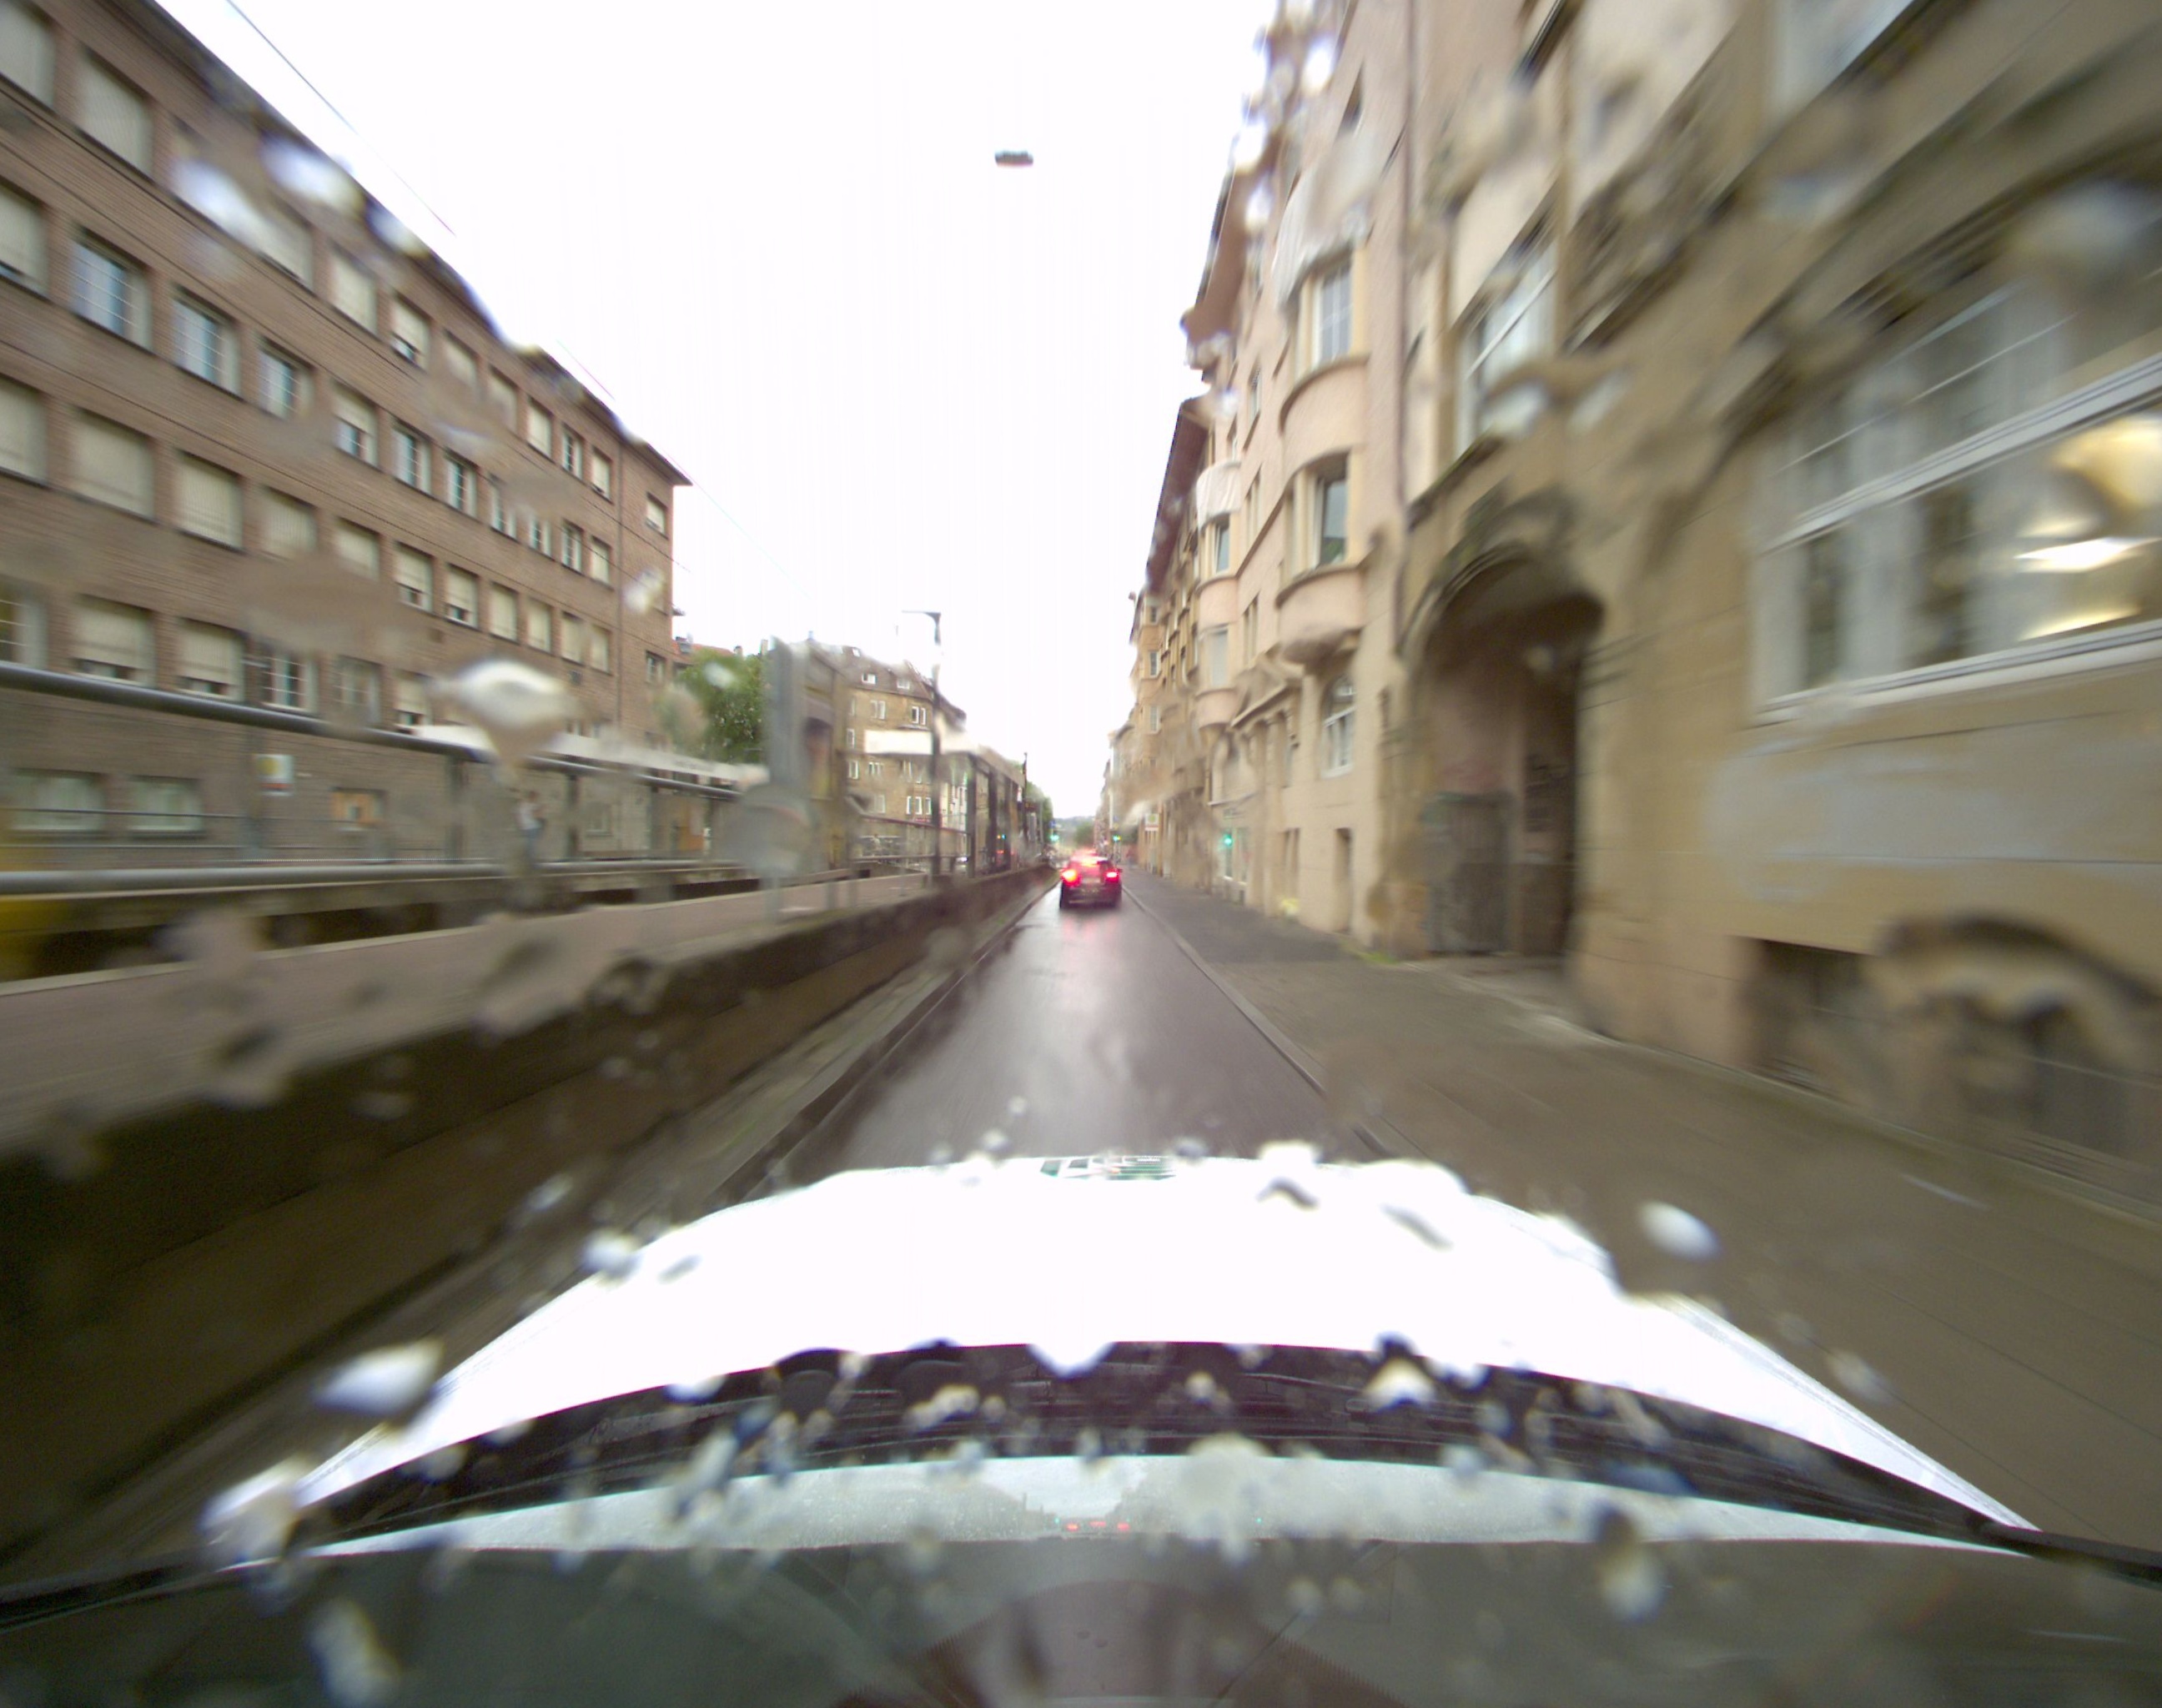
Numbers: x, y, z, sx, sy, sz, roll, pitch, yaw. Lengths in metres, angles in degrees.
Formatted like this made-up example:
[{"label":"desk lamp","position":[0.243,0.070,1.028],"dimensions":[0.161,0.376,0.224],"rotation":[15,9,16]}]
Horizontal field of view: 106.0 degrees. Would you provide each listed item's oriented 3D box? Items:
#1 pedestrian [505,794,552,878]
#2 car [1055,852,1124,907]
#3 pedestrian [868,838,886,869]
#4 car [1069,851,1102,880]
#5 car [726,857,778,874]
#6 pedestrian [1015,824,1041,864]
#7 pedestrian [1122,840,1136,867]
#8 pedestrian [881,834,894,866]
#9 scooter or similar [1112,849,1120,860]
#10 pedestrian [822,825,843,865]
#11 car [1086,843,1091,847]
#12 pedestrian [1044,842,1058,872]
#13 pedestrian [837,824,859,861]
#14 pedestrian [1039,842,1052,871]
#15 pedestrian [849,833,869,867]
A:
[{"label":"pedestrian","position":[-11.467,-0.368,16.918],"dimensions":[0.585,1.709,0.491],"rotation":[-2,0,-1]},{"label":"car","position":[0.302,0.694,24.104],"dimensions":[1.859,1.452,4.002],"rotation":[0,0,2]},{"label":"pedestrian","position":[-10.656,-0.022,42.632],"dimensions":[0.690,1.583,0.956],"rotation":[0,0,0]},{"label":"car","position":[0.287,0.568,43.817],"dimensions":[1.643,1.452,4.002],"rotation":[0,0,2]},{"label":"car","position":[-29.756,1.049,73.708],"dimensions":[1.720,1.403,4.025],"rotation":[-2,0,42]},{"label":"pedestrian","position":[-2.403,-0.443,36.911],"dimensions":[1.110,1.774,1.111],"rotation":[0,0,0]},{"label":"pedestrian","position":[3.505,-0.042,59.391],"dimensions":[0.895,1.840,0.970],"rotation":[-4,0,5]},{"label":"pedestrian","position":[-11.237,-0.223,47.315],"dimensions":[0.509,1.818,0.800],"rotation":[0,0,0]},{"label":"scooter or similar","position":[3.767,0.047,87.615],"dimensions":[0.636,1.210,1.550],"rotation":[-2,0,-4]},{"label":"pedestrian","position":[-10.902,-0.402,35.794],"dimensions":[0.663,1.698,0.688],"rotation":[-3,-1,-4]},{"label":"car","position":[2.328,-2.943,259.383],"dimensions":[1.608,1.317,4.000],"rotation":[0,0,0]},{"label":"pedestrian","position":[-2.035,0.218,55.451],"dimensions":[0.923,2.013,0.947],"rotation":[0,0,0]},{"label":"pedestrian","position":[-10.945,-0.548,38.309],"dimensions":[0.741,1.696,0.883],"rotation":[1,-1,0]},{"label":"pedestrian","position":[-2.459,0.168,56.568],"dimensions":[0.894,2.013,0.947],"rotation":[0,0,0]},{"label":"pedestrian","position":[-10.987,-0.208,40.374],"dimensions":[0.741,1.647,0.641],"rotation":[-2,0,0]}]
